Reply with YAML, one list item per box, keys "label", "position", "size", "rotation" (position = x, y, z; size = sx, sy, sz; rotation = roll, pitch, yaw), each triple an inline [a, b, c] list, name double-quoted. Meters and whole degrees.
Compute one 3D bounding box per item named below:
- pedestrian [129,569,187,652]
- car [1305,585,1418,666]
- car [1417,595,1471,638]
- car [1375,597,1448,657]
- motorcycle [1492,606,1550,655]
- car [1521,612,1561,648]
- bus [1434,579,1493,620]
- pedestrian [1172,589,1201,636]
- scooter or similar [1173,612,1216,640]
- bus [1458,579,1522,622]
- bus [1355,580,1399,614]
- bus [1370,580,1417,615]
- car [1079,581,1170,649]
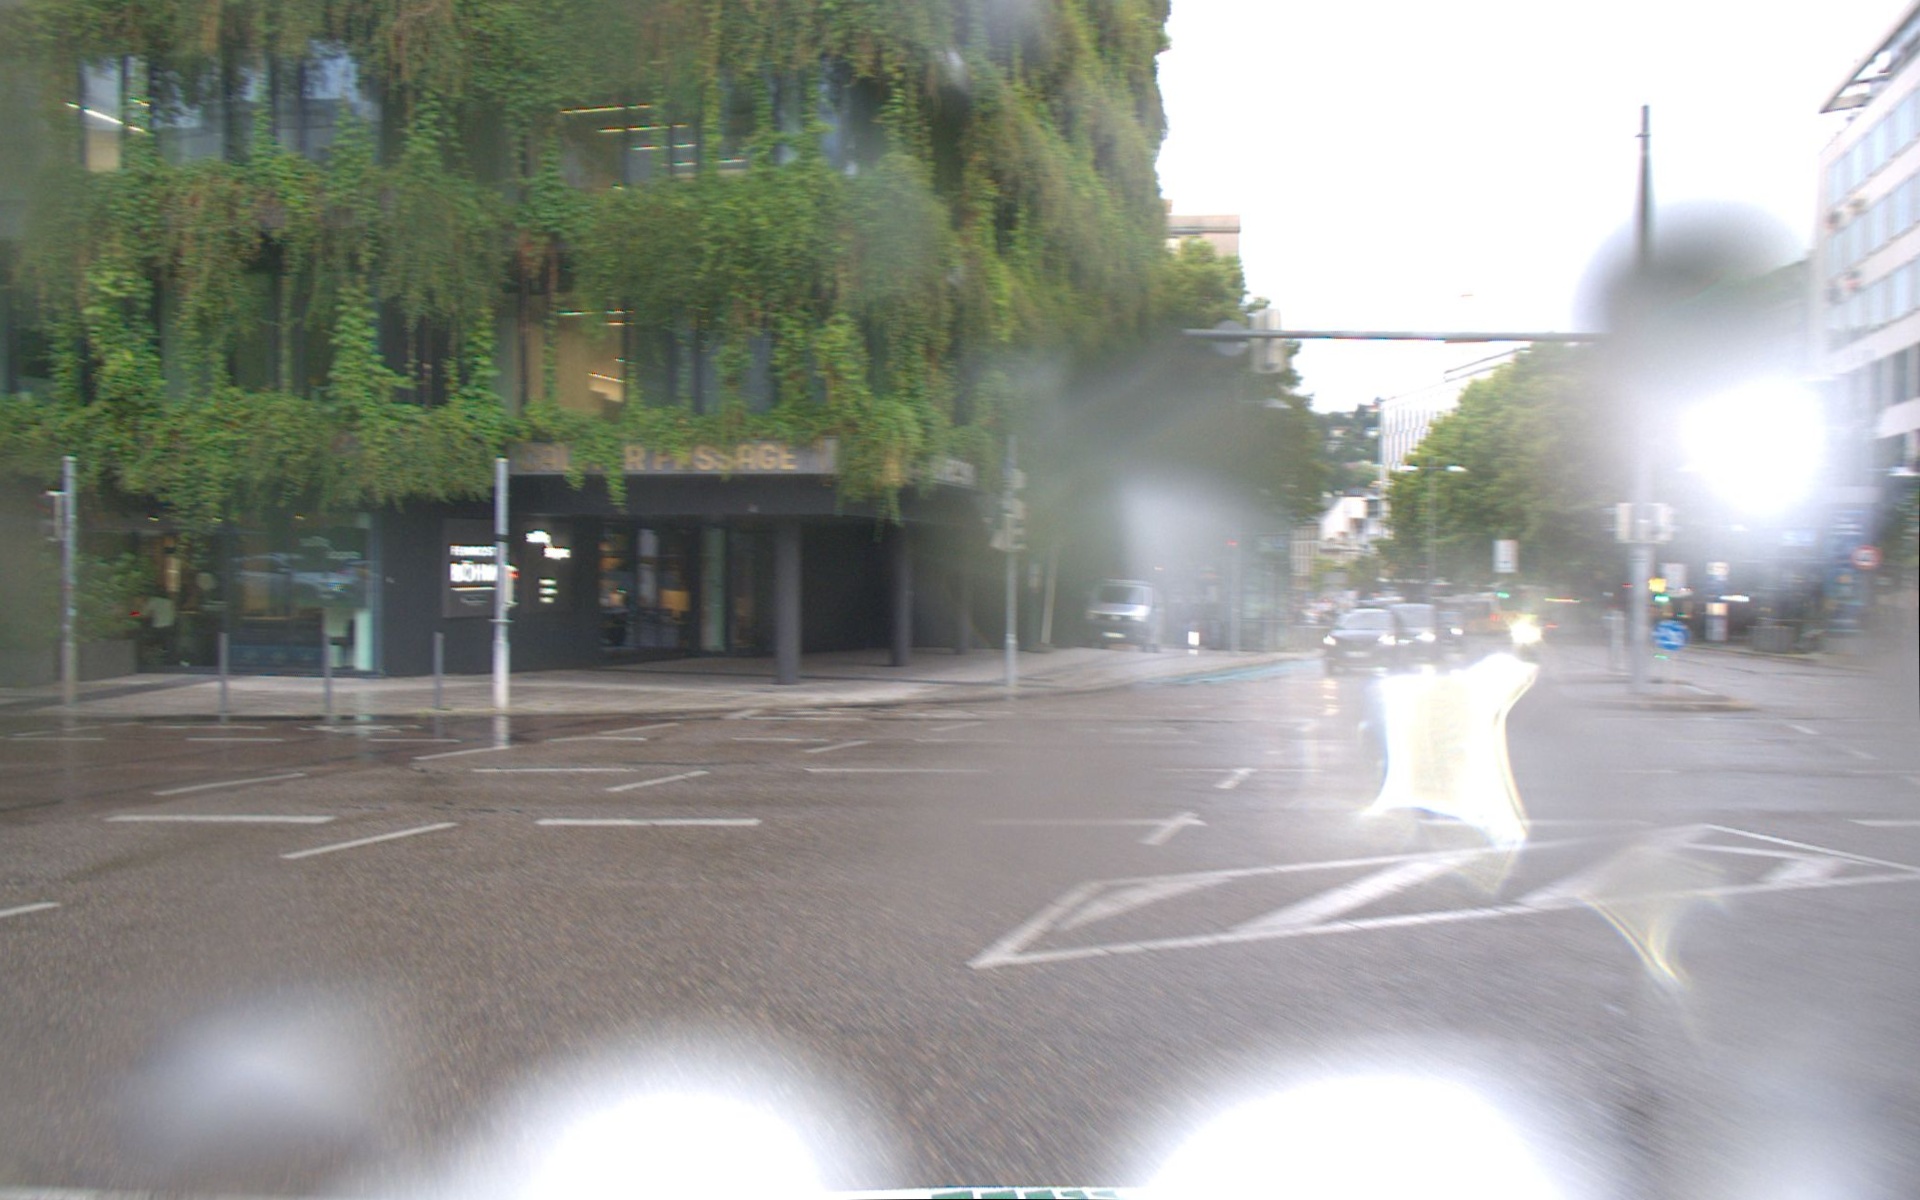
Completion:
- label: "pedestrian"
  position: [-13.068, 0.170, 26.962]
  size: [0.600, 1.334, 0.599]
  rotation: [0, 0, 12]
- label: "car"
  position: [9.822, 0.583, 40.190]
  size: [2.119, 1.796, 5.113]
  rotation: [1, 0, 20]
- label: "car"
  position: [21.036, 0.703, 72.072]
  size: [2.118, 1.796, 5.115]
  rotation: [1, 0, 15]
- label: "car"
  position: [14.299, 0.816, 52.489]
  size: [2.118, 1.796, 5.115]
  rotation: [1, 0, 15]
- label: "motorcycle"
  position: [18.620, 0.971, 55.042]
  size: [1.518, 1.541, 4.388]
  rotation: [1, 0, 15]
- label: "car"
  position: [33.928, 1.726, 96.577]
  size: [1.514, 2.049, 4.662]
  rotation: [1, 0, 28]
- label: "bus"
  position: [38.373, -0.075, 126.298]
  size: [2.573, 3.048, 7.452]
  rotation: [0, 0, 3]
- label: "pedestrian"
  position: [8.275, 0.444, 60.287]
  size: [0.914, 1.673, 0.774]
  rotation: [1, 0, 18]
- label: "scooter or similar"
  position: [8.760, 0.962, 61.742]
  size: [1.641, 1.022, 0.617]
  rotation: [0, 0, -35]
- label: "bus"
  position: [38.033, -0.003, 118.880]
  size: [2.573, 3.048, 7.452]
  rotation: [0, 0, 3]
- label: "bus"
  position: [38.941, -0.289, 154.814]
  size: [2.573, 3.048, 7.452]
  rotation: [0, 0, 3]
- label: "bus"
  position: [38.618, -0.248, 147.443]
  size: [2.573, 3.048, 7.330]
  rotation: [0, 0, 3]
- label: "car"
  position: [4.831, 0.416, 48.068]
  size: [1.831, 1.871, 4.002]
  rotation: [1, 0, 17]
